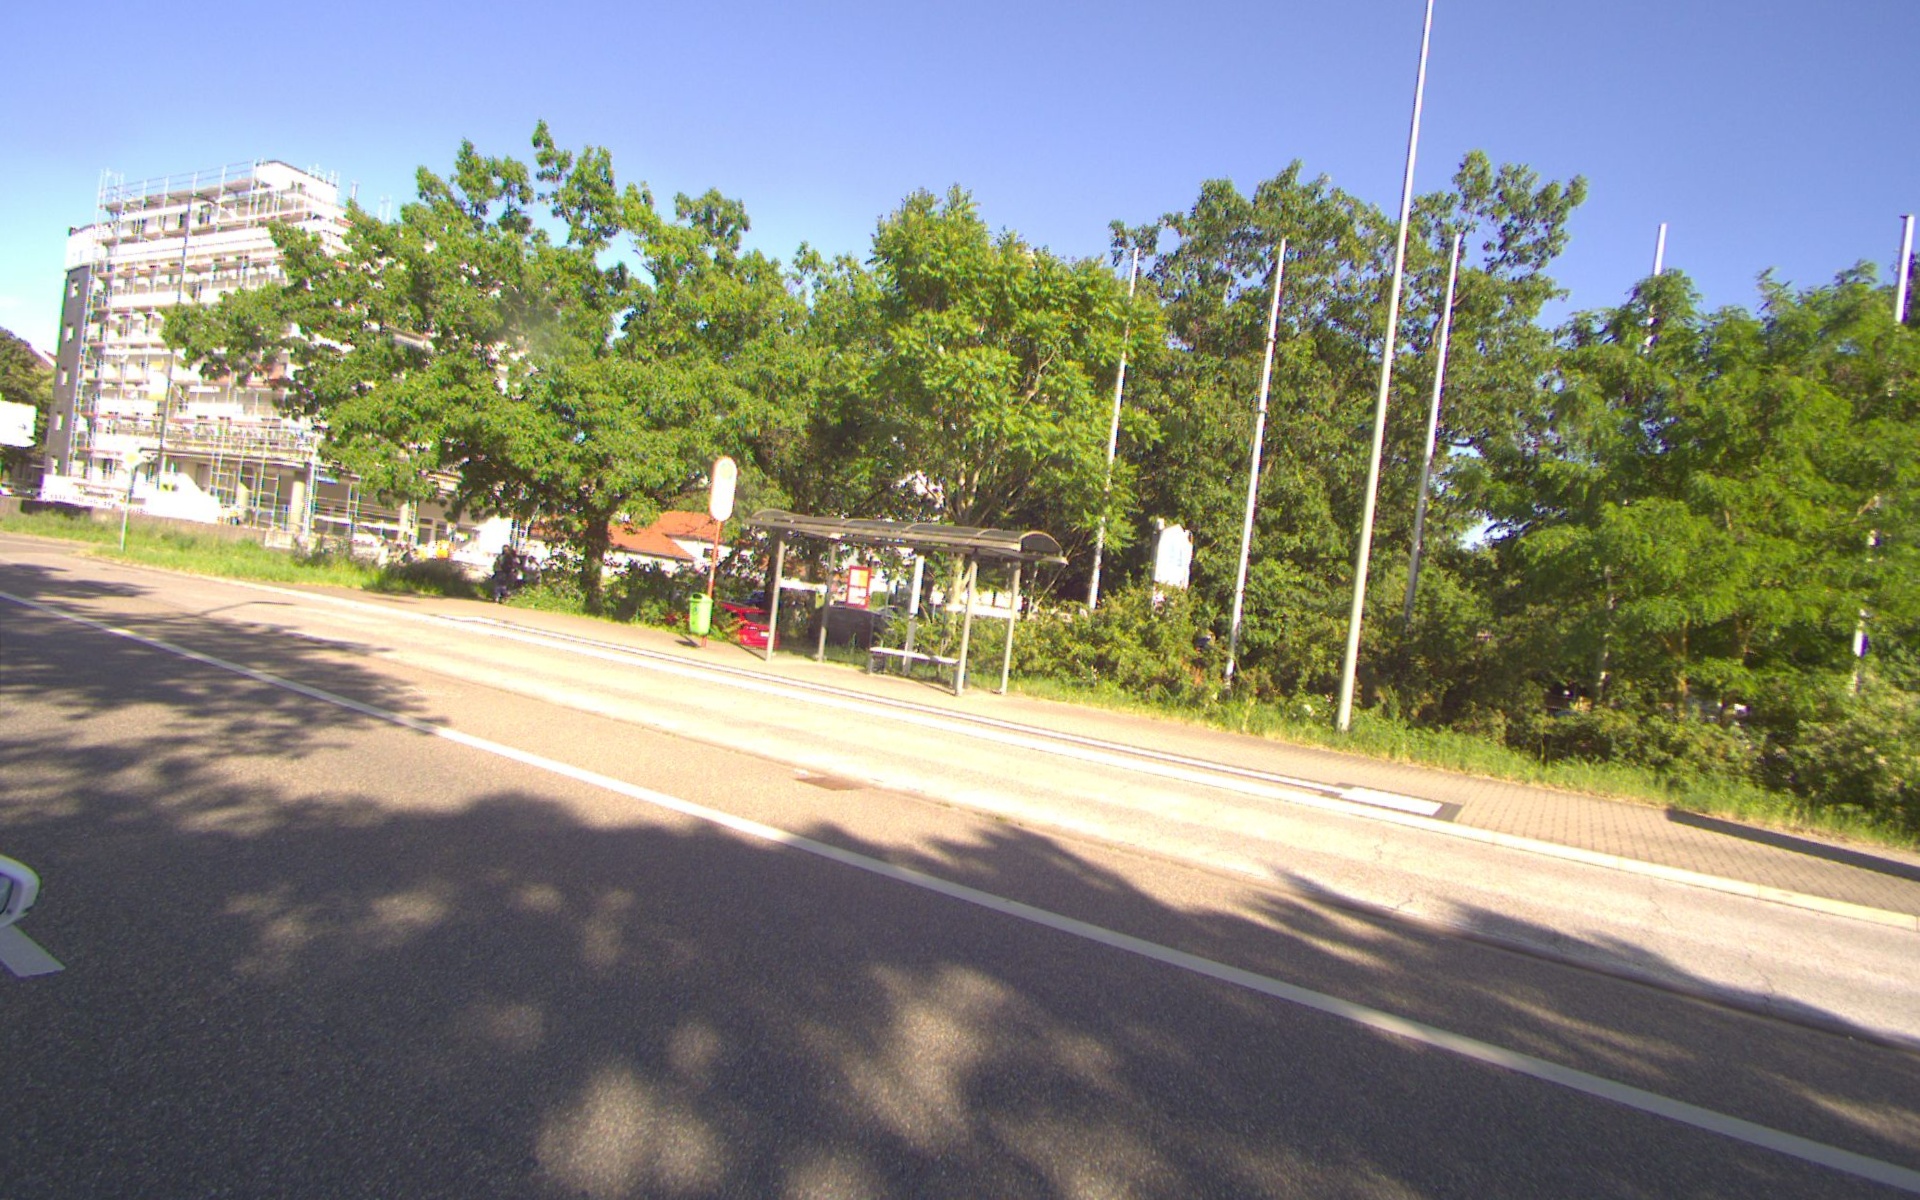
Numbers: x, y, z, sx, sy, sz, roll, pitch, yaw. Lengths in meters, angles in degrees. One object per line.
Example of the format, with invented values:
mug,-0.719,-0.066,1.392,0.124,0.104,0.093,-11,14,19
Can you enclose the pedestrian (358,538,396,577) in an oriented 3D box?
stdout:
pedestrian,-24.976,-1.812,43.095,0.948,1.465,0.895,7,0,17

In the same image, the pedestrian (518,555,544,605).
pedestrian,-13.369,-0.629,31.334,0.517,1.465,0.587,7,1,-32

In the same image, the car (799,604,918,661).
car,-3.589,1.174,35.978,3.674,1.504,1.914,7,0,13

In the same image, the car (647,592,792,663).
car,-6.877,0.793,28.745,3.680,1.504,1.755,7,0,28

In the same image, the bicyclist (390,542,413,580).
bicyclist,-23.238,-1.614,41.840,0.582,1.511,0.543,7,1,-43

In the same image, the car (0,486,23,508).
car,-66.612,-7.213,70.164,1.521,1.330,3.250,7,0,-40

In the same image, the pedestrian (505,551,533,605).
pedestrian,-12.788,-0.639,29.157,0.517,1.465,0.587,7,1,-32

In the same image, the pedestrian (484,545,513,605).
pedestrian,-13.028,-0.704,28.393,0.517,1.632,0.587,7,1,-32

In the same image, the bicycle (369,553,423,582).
bicycle,-23.401,-1.331,41.752,1.784,0.956,0.553,8,0,-44
